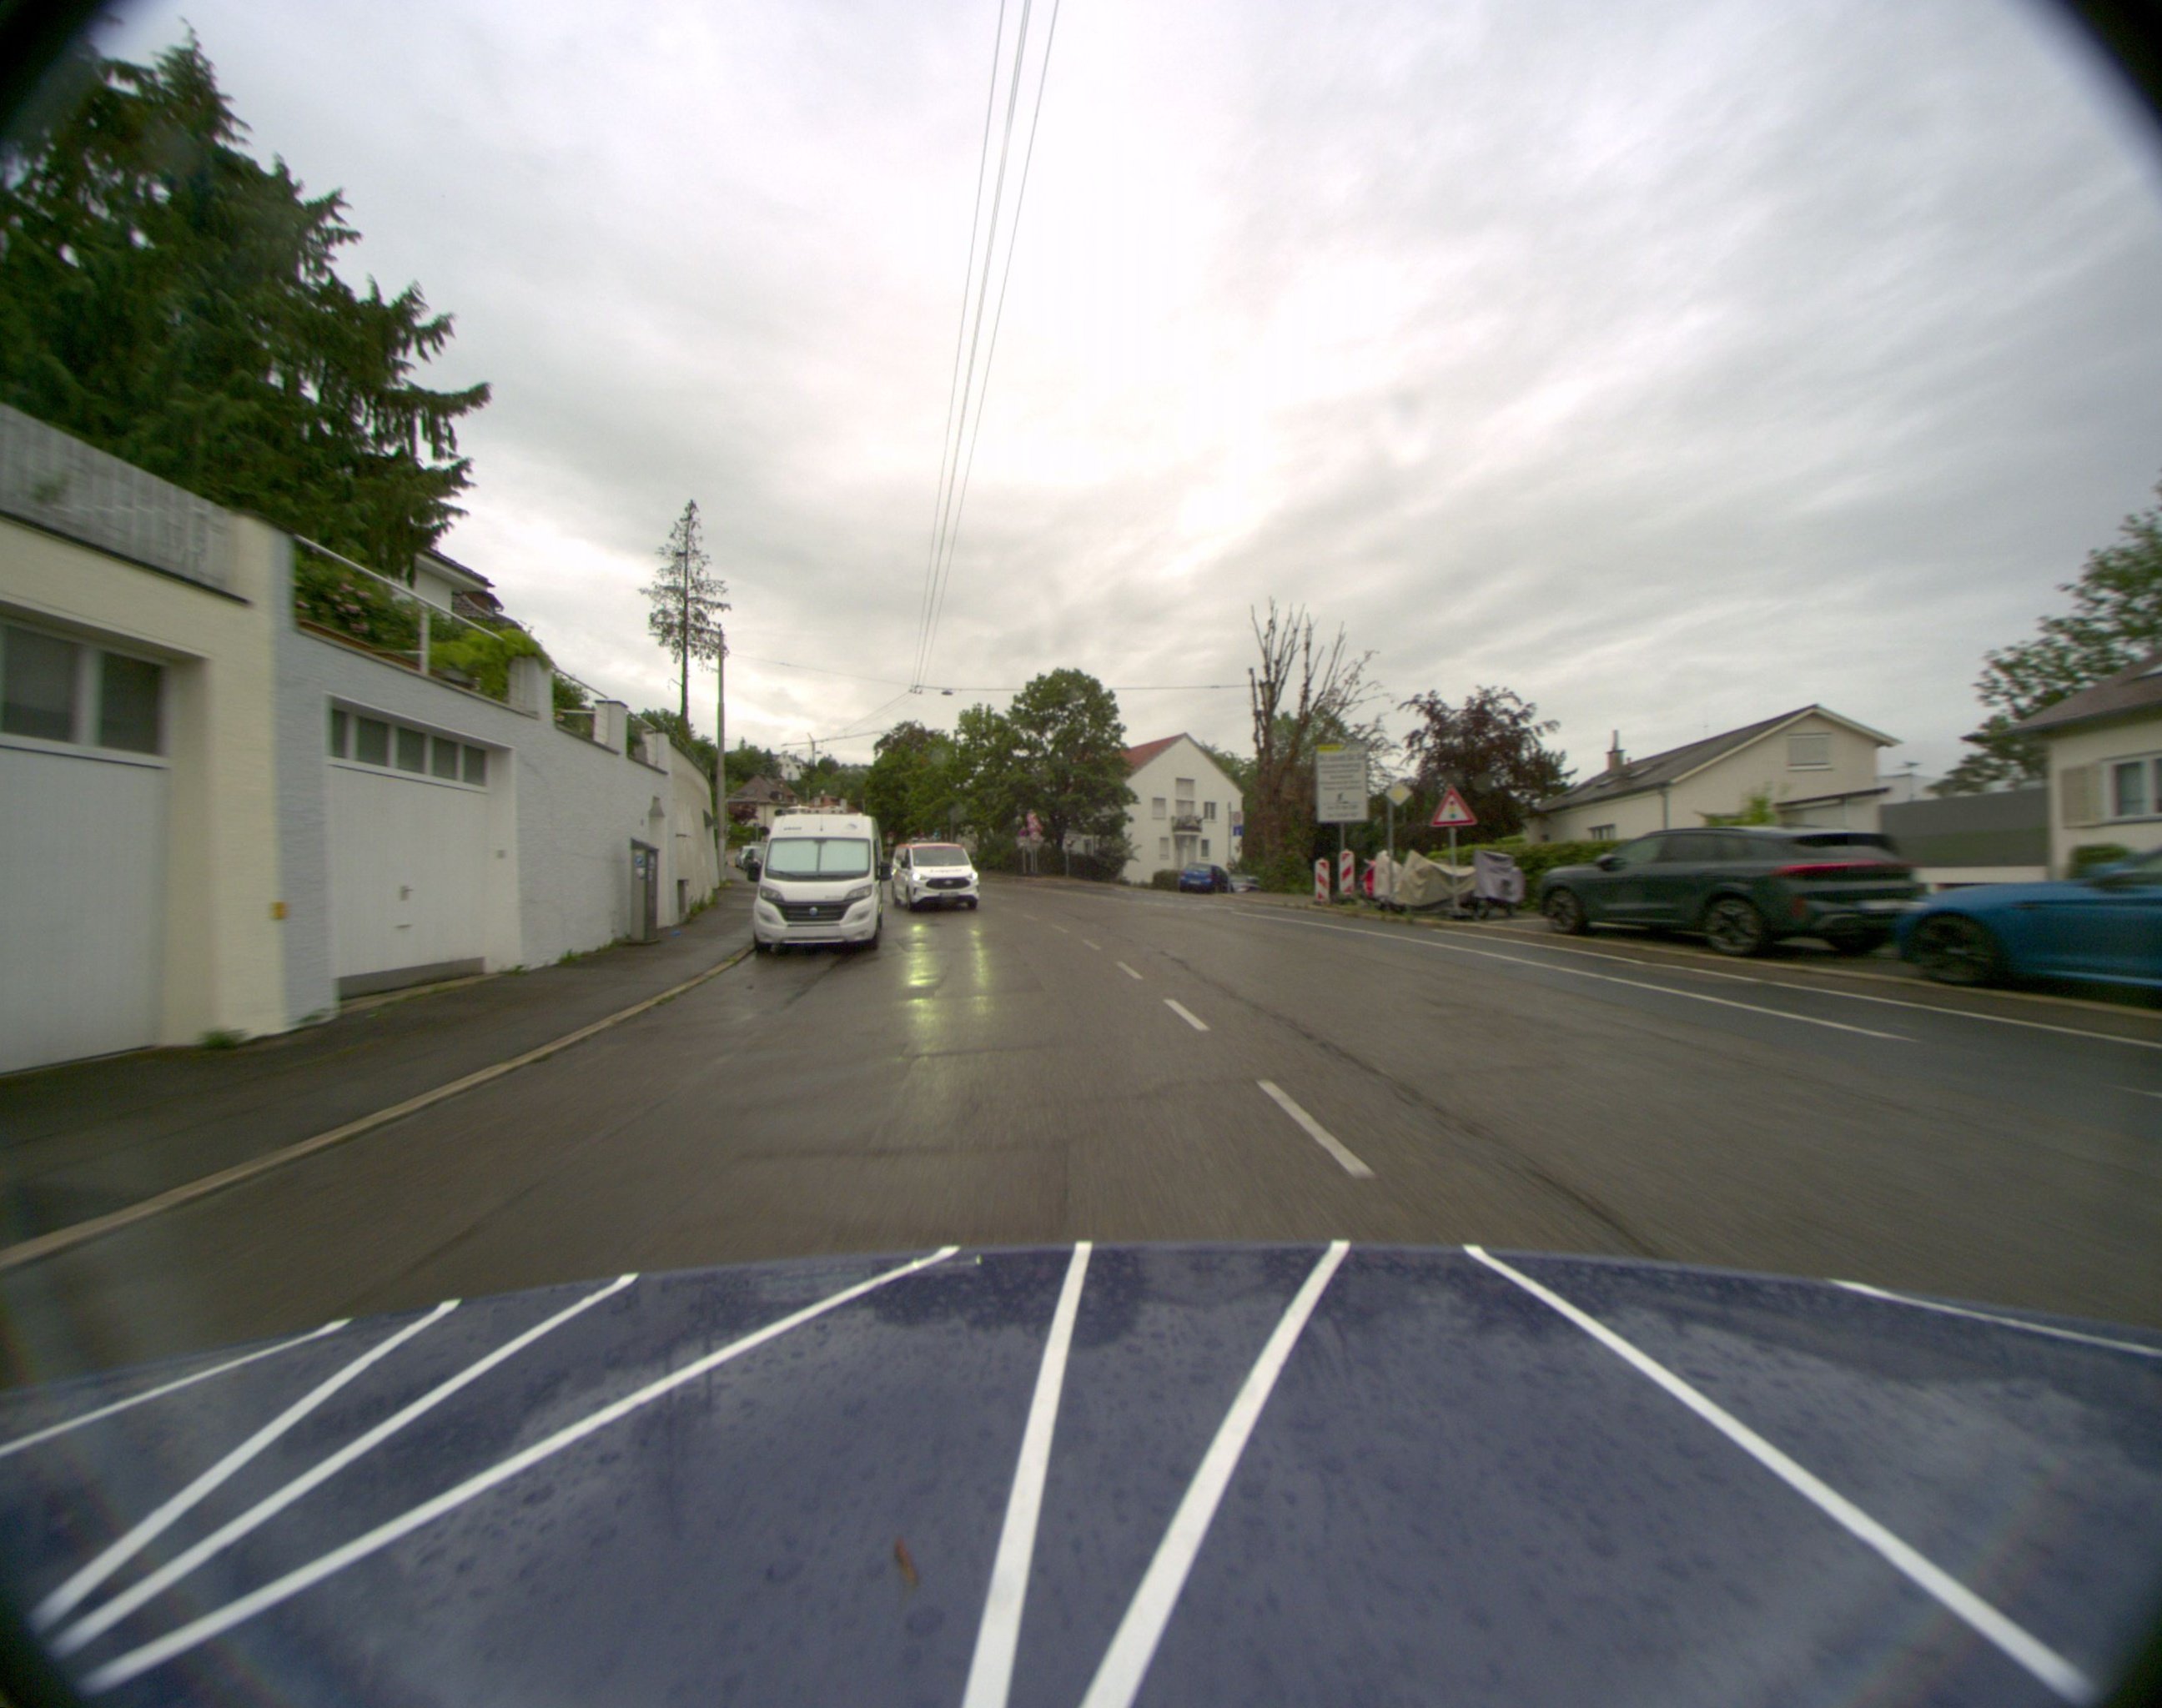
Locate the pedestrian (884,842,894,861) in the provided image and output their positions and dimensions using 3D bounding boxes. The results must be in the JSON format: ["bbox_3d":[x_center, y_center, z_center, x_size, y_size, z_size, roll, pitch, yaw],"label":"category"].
[{"bbox_3d":[-19.214,-0.253,76.035,0.684,1.806,1.152,-1,1,-31],"label":"pedestrian"}]

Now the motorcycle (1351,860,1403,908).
[{"bbox_3d":[7.437,0.734,19.181,0.511,1.133,1.922,1,0,-2],"label":"motorcycle"}]

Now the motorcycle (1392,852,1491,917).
[{"bbox_3d":[7.632,0.651,16.151,1.803,1.296,0.614,-2,1,20],"label":"motorcycle"}]

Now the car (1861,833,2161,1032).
[{"bbox_3d":[8.626,0.544,5.264,1.704,1.396,4.472,-3,0,-2],"label":"car"}]

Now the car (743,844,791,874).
[{"bbox_3d":[-17.901,0.252,43.202,1.723,1.504,3.988,1,1,-34],"label":"car"}]

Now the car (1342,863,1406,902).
[{"bbox_3d":[11.358,1.076,29.636,1.552,1.319,3.565,2,0,9],"label":"car"}]

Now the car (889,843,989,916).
[{"bbox_3d":[-4.427,0.675,23.096,2.045,1.928,4.506,-2,1,-23],"label":"car"}]

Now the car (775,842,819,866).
[{"bbox_3d":[-19.730,-0.032,52.684,1.993,1.428,4.502,0,2,-32],"label":"car"}]

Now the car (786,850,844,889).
[{"bbox_3d":[-11.074,0.605,31.429,1.713,1.406,4.031,1,1,-27],"label":"car"}]

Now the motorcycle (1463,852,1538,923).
[{"bbox_3d":[8.201,0.621,14.810,1.910,1.264,0.574,-2,0,-39],"label":"motorcycle"}]

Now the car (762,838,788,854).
[{"bbox_3d":[-36.650,-0.996,91.046,1.809,1.716,4.572,3,1,-9],"label":"car"}]

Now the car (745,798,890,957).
[{"bbox_3d":[-4.918,0.340,15.009,2.107,2.528,5.612,1,1,-13],"label":"car"}]

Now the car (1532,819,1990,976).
[{"bbox_3d":[8.535,0.460,10.231,1.927,1.568,4.385,-3,0,-7],"label":"car"}]

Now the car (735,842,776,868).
[{"bbox_3d":[-20.550,0.031,47.917,1.790,1.412,4.418,2,1,-31],"label":"car"}]

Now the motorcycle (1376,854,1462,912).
[{"bbox_3d":[7.788,0.662,17.521,1.807,1.272,0.511,-1,0,-9],"label":"motorcycle"}]

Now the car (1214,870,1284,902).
[{"bbox_3d":[8.918,1.641,40.119,1.836,1.485,4.090,3,1,42],"label":"car"}]

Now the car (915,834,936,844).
[{"bbox_3d":[-27.789,-2.686,135.939,1.807,1.791,4.468,2,2,18],"label":"car"}]

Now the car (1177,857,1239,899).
[{"bbox_3d":[5.902,1.055,34.967,1.837,1.657,3.948,3,2,24],"label":"car"}]
